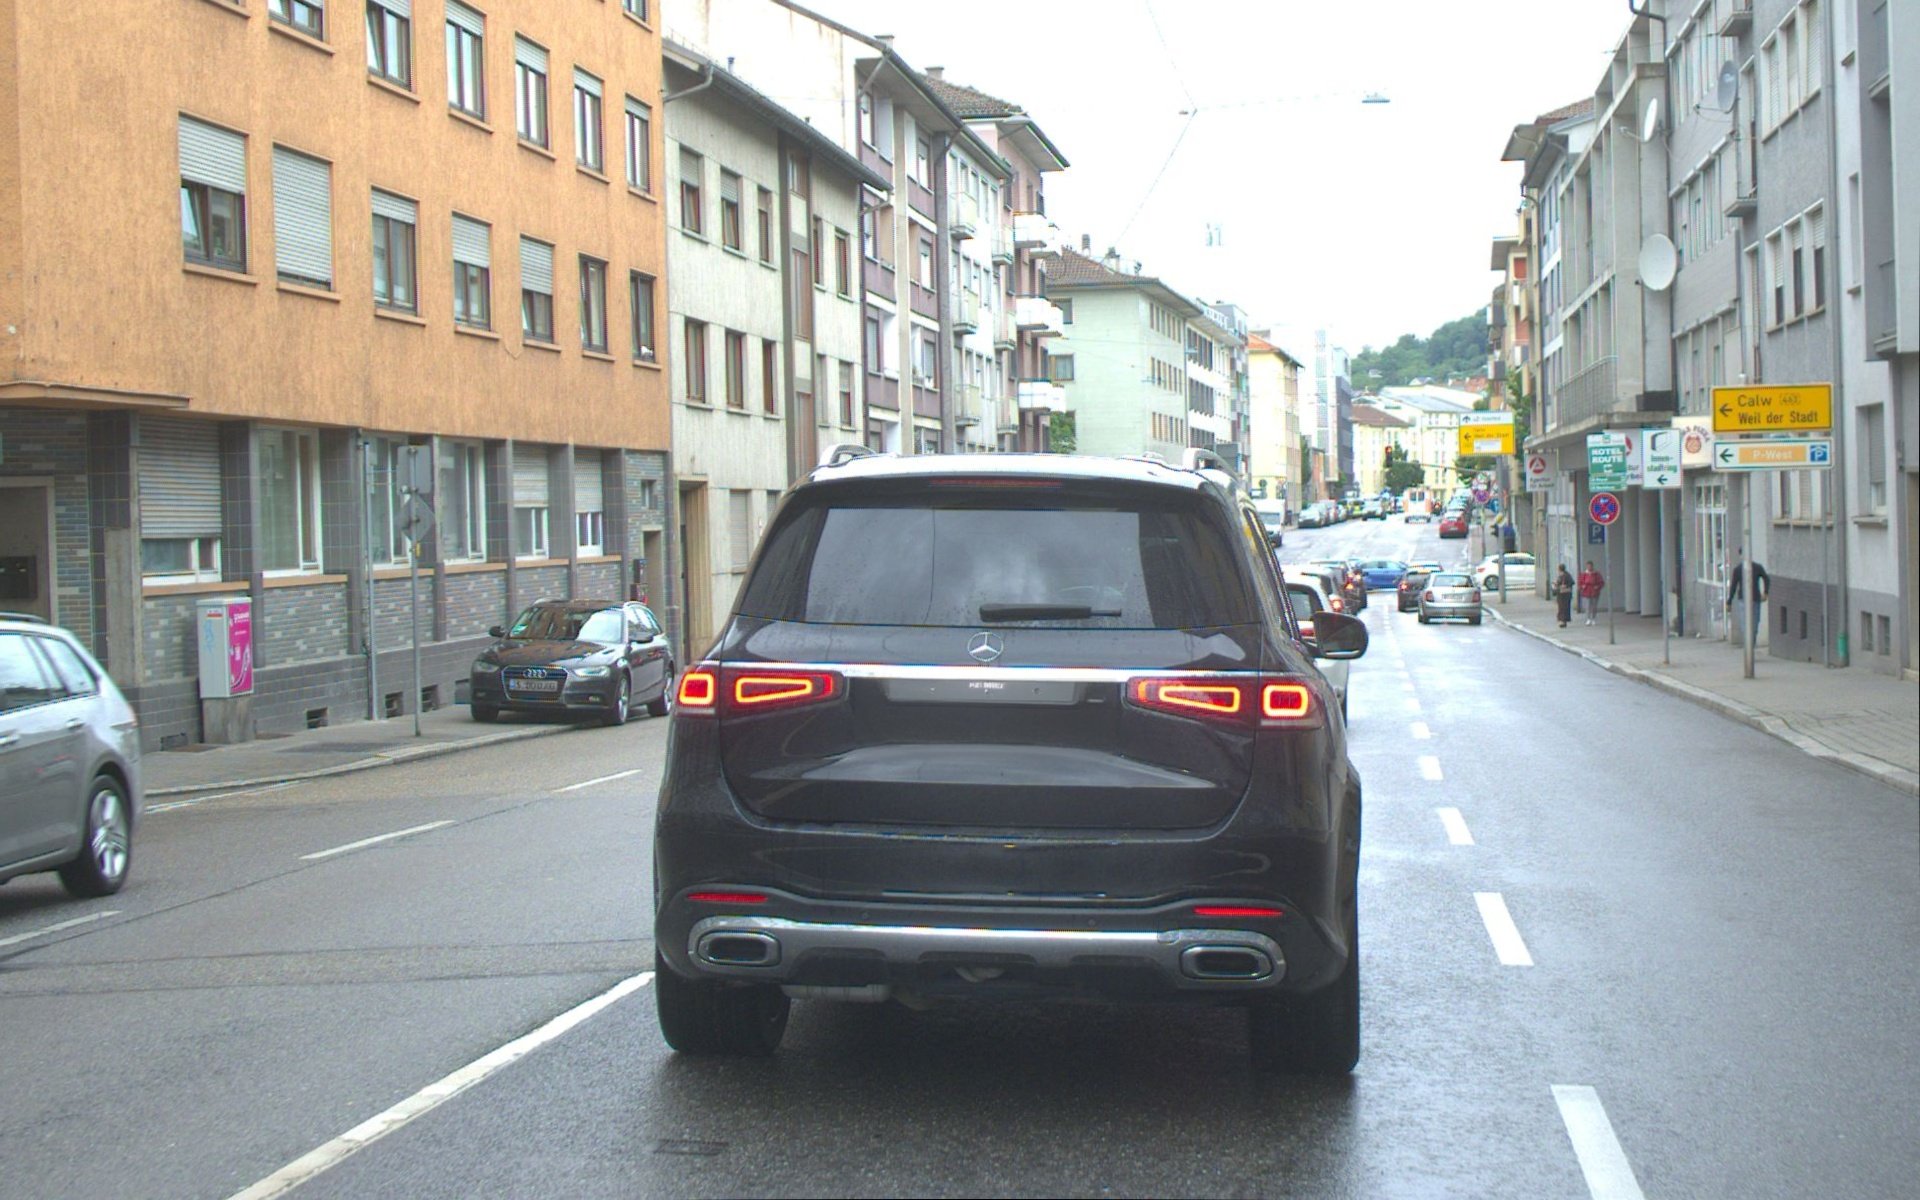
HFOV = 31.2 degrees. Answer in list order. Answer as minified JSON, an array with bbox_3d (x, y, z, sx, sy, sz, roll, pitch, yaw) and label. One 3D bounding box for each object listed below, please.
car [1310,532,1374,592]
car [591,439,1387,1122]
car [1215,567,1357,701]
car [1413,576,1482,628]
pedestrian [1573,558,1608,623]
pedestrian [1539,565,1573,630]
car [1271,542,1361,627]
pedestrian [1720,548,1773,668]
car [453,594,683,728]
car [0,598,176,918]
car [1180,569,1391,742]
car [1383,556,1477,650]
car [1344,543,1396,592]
[{"bbox_3d":[12.915,-1.299,116.101,1.994,2.007,3.999,0,1,9],"label":"car"},{"bbox_3d":[0.285,0.411,11.242,2.076,1.759,4.610,0,1,6],"label":"car"},{"bbox_3d":[5.194,0.497,54.374,1.994,2.007,3.999,0,1,9],"label":"car"},{"bbox_3d":[13.669,0.039,96.531,1.735,1.383,4.582,0,1,6],"label":"car"},{"bbox_3d":[15.354,-0.238,83.765,0.821,1.560,0.899,0,1,10],"label":"pedestrian"},{"bbox_3d":[14.540,-0.067,83.926,0.821,1.560,0.899,0,1,10],"label":"pedestrian"},{"bbox_3d":[8.764,-0.405,84.373,1.994,2.007,3.999,0,1,9],"label":"car"},{"bbox_3d":[11.755,0.110,51.369,0.656,1.746,0.741,-3,0,12],"label":"pedestrian"},{"bbox_3d":[-4.654,0.689,41.462,1.891,1.453,4.548,0,1,5],"label":"car"},{"bbox_3d":[-5.310,0.816,16.083,1.827,1.411,4.294,-5,1,6],"label":"car"},{"bbox_3d":[3.120,0.486,33.408,1.893,1.505,4.173,1,1,4],"label":"car"},{"bbox_3d":[10.527,0.040,76.798,1.994,2.007,3.999,0,1,9],"label":"car"},{"bbox_3d":[17.160,-1.365,143.762,1.994,2.007,3.999,0,1,9],"label":"car"}]
